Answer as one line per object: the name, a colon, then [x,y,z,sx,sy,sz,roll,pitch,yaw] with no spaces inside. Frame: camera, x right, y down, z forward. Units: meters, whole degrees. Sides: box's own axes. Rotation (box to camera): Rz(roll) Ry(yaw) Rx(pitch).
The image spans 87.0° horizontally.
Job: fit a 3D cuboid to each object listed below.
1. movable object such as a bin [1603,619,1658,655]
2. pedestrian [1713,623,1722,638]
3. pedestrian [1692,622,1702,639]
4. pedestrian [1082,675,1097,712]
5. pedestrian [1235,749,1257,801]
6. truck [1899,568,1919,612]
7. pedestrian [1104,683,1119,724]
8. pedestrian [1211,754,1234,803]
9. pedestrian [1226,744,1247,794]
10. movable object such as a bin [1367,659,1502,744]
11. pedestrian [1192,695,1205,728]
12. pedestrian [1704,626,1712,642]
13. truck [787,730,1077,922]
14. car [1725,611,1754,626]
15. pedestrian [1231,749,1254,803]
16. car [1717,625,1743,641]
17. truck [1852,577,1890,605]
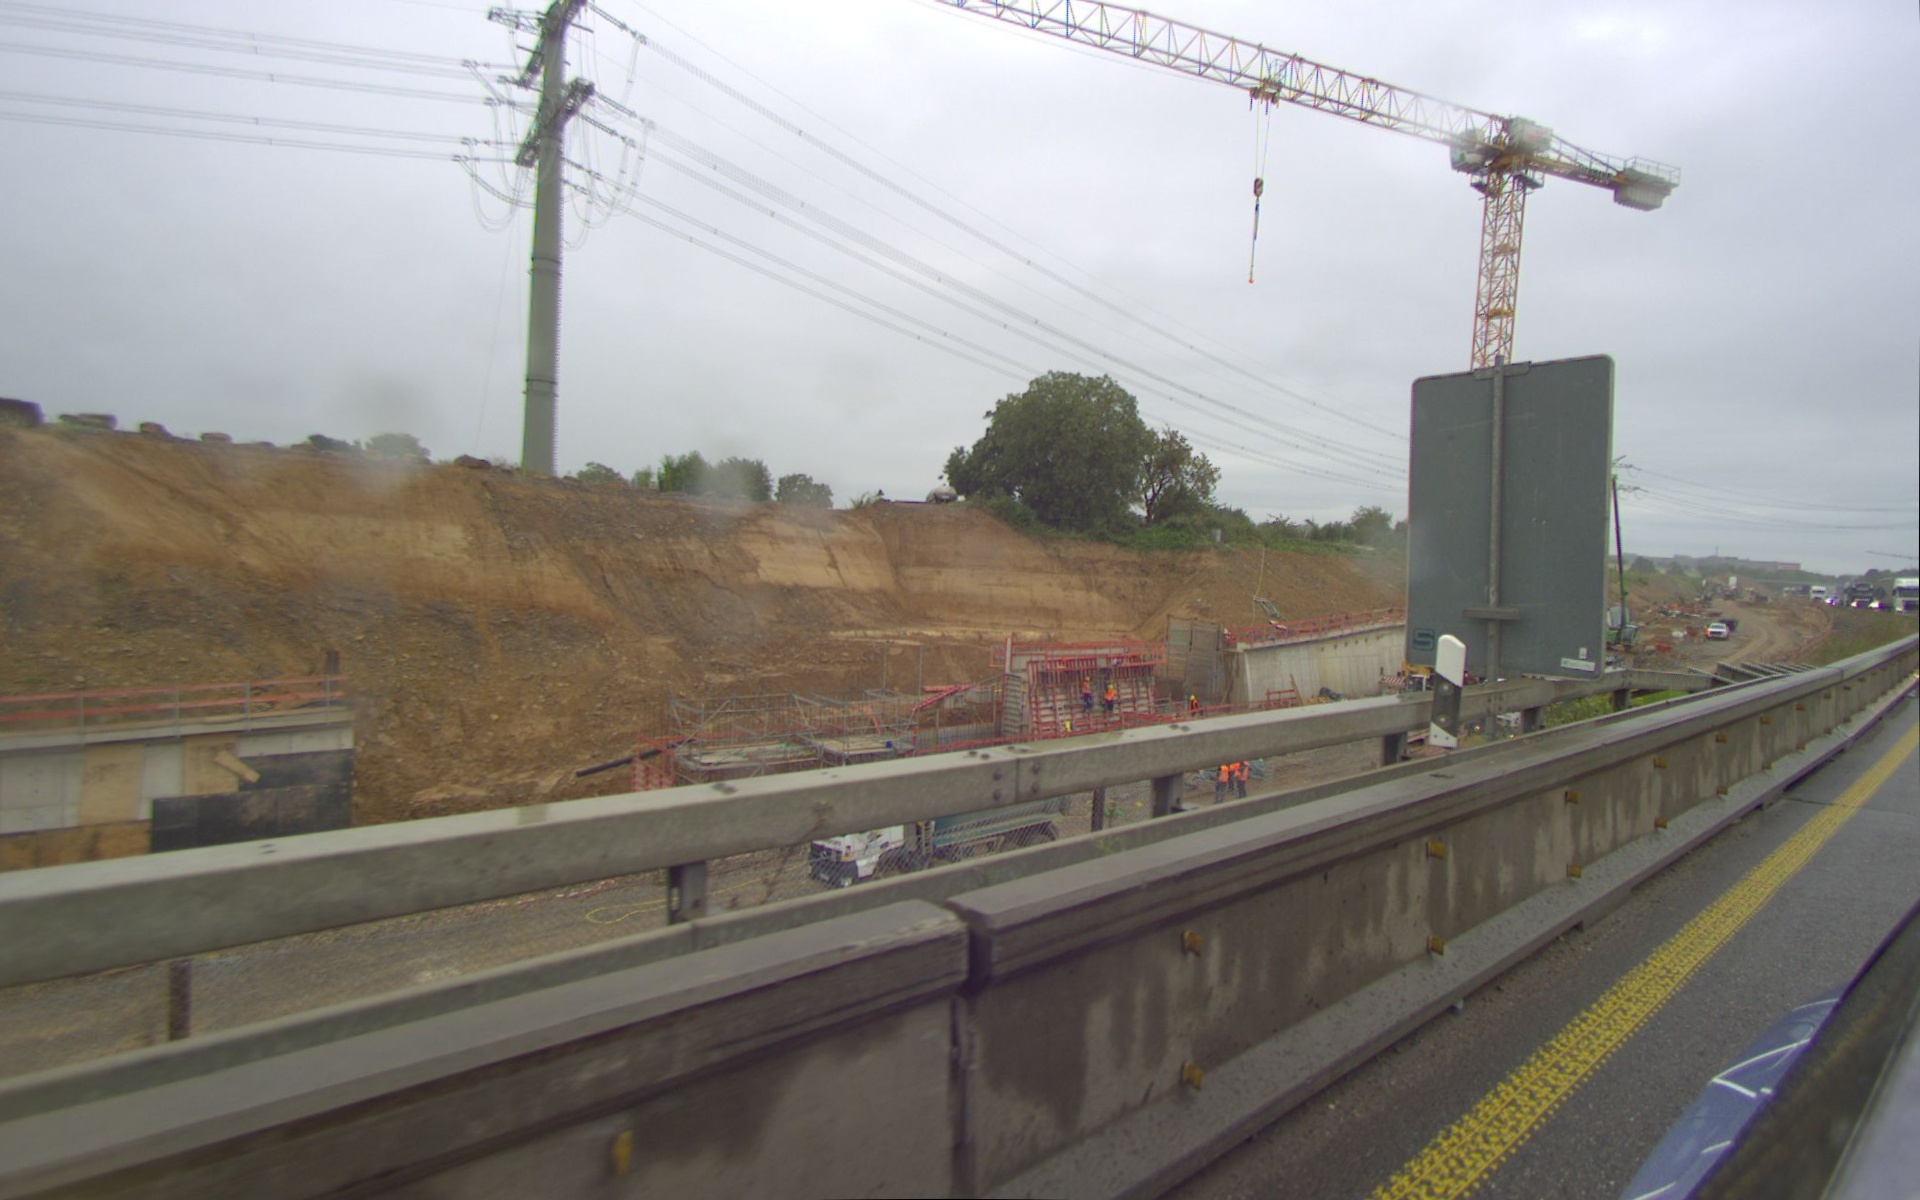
movable object such as a bin: [66.404,3.611,100.227,3.934,2.914,3.499,-1,8,-44]
pedestrian: [83.665,3.362,111.774,0.593,1.702,0.613,0,0,-42]
pedestrian: [80.107,3.311,109.996,0.655,1.881,0.613,0,3,-42]
pedestrian: [6.717,4.863,52.616,0.571,1.827,0.489,-3,-2,-3]
pedestrian: [11.554,7.067,40.886,0.473,1.928,0.602,-1,3,-43]
truck: [101.454,-1.023,105.921,4.304,4.399,13.206,0,0,42]
pedestrian: [8.011,5.462,53.585,0.473,2.127,0.488,-1,-3,-43]
pedestrian: [10.384,7.061,40.078,0.473,1.790,0.603,-1,5,-43]
pedestrian: [11.432,6.991,41.853,0.473,1.928,0.602,-1,4,-43]
movable object such as a bin: [24.573,5.118,52.331,6.527,3.466,3.521,-2,2,-35]
pedestrian: [13.673,6.365,57.976,0.473,1.781,0.488,-1,4,-43]
pedestrian: [80.744,3.630,109.276,0.593,1.702,0.613,0,0,-42]
truck: [-0.585,6.375,30.219,8.915,3.655,2.709,-2,4,-40]
car: [101.042,2.401,131.217,4.781,1.638,2.347,-1,3,-45]
pedestrian: [11.181,6.955,40.070,0.604,1.928,0.602,-1,3,-43]
car: [87.648,3.741,115.188,4.014,1.638,1.856,-1,3,-45]
truck: [132.224,-1.324,146.882,8.198,3.942,3.539,0,0,-44]
